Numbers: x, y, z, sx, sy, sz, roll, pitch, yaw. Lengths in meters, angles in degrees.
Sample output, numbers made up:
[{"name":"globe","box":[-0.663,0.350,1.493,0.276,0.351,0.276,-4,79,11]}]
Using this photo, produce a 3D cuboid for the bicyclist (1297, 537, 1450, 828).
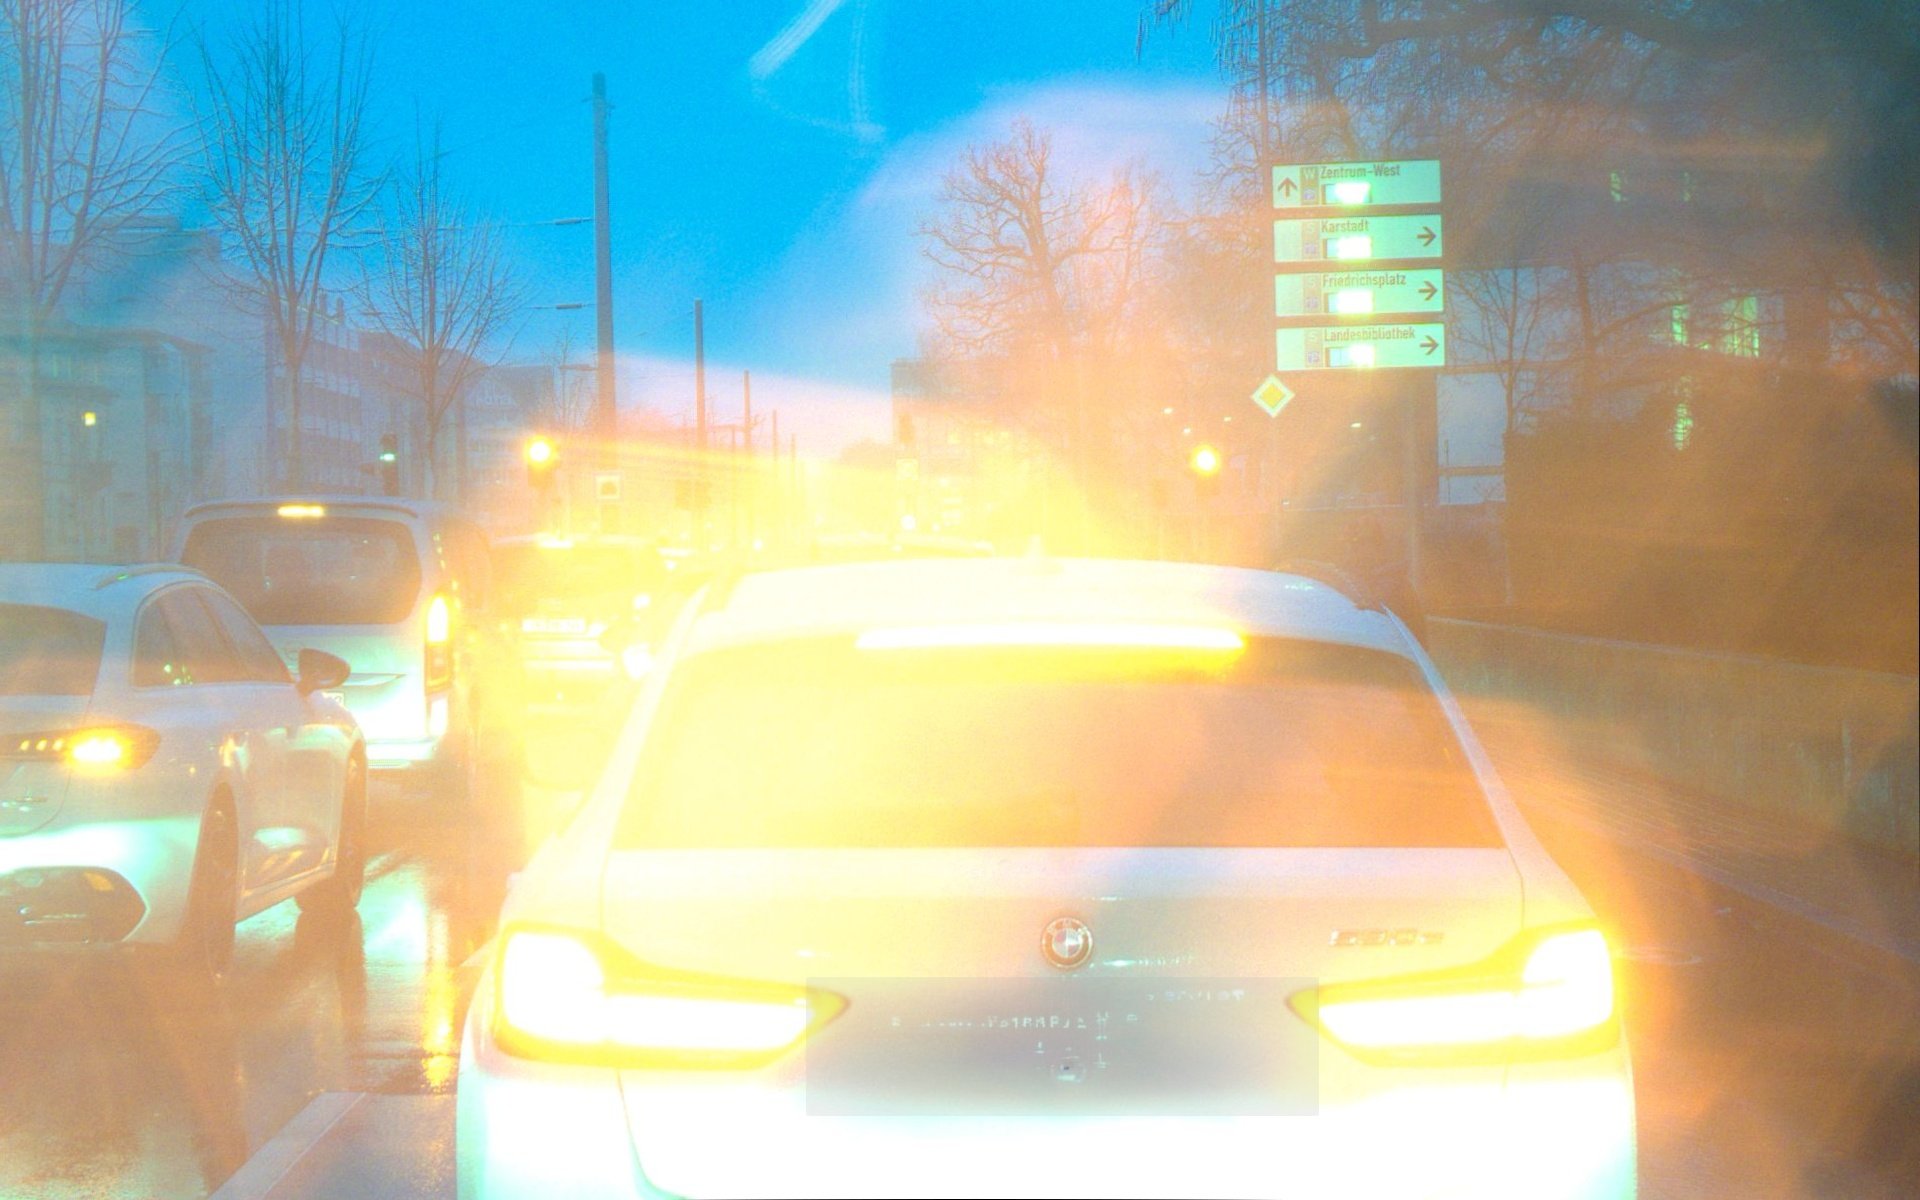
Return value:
[{"name":"bicyclist","box":[2.030,0.388,16.958,0.645,1.384,0.890,-1,1,2]}]

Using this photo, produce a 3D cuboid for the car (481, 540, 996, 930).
[{"name":"car","box":[-0.858,0.472,15.060,1.936,1.452,4.164,0,1,-1]}]

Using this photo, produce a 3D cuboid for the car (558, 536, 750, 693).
[{"name":"car","box":[-3.327,0.120,38.064,1.806,1.640,4.000,0,1,0]}]

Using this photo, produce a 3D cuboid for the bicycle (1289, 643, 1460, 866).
[{"name":"bicycle","box":[2.035,0.736,17.075,0.645,0.963,2.046,-1,1,2]}]

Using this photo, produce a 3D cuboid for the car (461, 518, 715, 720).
[{"name":"car","box":[-3.161,0.117,29.887,1.806,1.640,4.000,0,1,0]}]

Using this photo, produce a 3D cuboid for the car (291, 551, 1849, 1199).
[{"name":"car","box":[0.123,0.676,6.503,1.999,1.503,4.164,0,1,-1]}]

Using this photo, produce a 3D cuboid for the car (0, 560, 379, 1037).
[{"name":"car","box":[-3.355,0.562,12.468,1.846,1.400,4.614,0,1,-2]}]

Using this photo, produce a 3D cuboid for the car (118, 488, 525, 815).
[{"name":"car","box":[-3.666,0.245,20.474,1.793,1.730,4.538,0,1,-3]}]

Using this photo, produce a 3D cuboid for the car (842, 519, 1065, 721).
[{"name":"car","box":[-0.073,0.122,29.819,1.806,1.640,4.000,0,1,0]}]
